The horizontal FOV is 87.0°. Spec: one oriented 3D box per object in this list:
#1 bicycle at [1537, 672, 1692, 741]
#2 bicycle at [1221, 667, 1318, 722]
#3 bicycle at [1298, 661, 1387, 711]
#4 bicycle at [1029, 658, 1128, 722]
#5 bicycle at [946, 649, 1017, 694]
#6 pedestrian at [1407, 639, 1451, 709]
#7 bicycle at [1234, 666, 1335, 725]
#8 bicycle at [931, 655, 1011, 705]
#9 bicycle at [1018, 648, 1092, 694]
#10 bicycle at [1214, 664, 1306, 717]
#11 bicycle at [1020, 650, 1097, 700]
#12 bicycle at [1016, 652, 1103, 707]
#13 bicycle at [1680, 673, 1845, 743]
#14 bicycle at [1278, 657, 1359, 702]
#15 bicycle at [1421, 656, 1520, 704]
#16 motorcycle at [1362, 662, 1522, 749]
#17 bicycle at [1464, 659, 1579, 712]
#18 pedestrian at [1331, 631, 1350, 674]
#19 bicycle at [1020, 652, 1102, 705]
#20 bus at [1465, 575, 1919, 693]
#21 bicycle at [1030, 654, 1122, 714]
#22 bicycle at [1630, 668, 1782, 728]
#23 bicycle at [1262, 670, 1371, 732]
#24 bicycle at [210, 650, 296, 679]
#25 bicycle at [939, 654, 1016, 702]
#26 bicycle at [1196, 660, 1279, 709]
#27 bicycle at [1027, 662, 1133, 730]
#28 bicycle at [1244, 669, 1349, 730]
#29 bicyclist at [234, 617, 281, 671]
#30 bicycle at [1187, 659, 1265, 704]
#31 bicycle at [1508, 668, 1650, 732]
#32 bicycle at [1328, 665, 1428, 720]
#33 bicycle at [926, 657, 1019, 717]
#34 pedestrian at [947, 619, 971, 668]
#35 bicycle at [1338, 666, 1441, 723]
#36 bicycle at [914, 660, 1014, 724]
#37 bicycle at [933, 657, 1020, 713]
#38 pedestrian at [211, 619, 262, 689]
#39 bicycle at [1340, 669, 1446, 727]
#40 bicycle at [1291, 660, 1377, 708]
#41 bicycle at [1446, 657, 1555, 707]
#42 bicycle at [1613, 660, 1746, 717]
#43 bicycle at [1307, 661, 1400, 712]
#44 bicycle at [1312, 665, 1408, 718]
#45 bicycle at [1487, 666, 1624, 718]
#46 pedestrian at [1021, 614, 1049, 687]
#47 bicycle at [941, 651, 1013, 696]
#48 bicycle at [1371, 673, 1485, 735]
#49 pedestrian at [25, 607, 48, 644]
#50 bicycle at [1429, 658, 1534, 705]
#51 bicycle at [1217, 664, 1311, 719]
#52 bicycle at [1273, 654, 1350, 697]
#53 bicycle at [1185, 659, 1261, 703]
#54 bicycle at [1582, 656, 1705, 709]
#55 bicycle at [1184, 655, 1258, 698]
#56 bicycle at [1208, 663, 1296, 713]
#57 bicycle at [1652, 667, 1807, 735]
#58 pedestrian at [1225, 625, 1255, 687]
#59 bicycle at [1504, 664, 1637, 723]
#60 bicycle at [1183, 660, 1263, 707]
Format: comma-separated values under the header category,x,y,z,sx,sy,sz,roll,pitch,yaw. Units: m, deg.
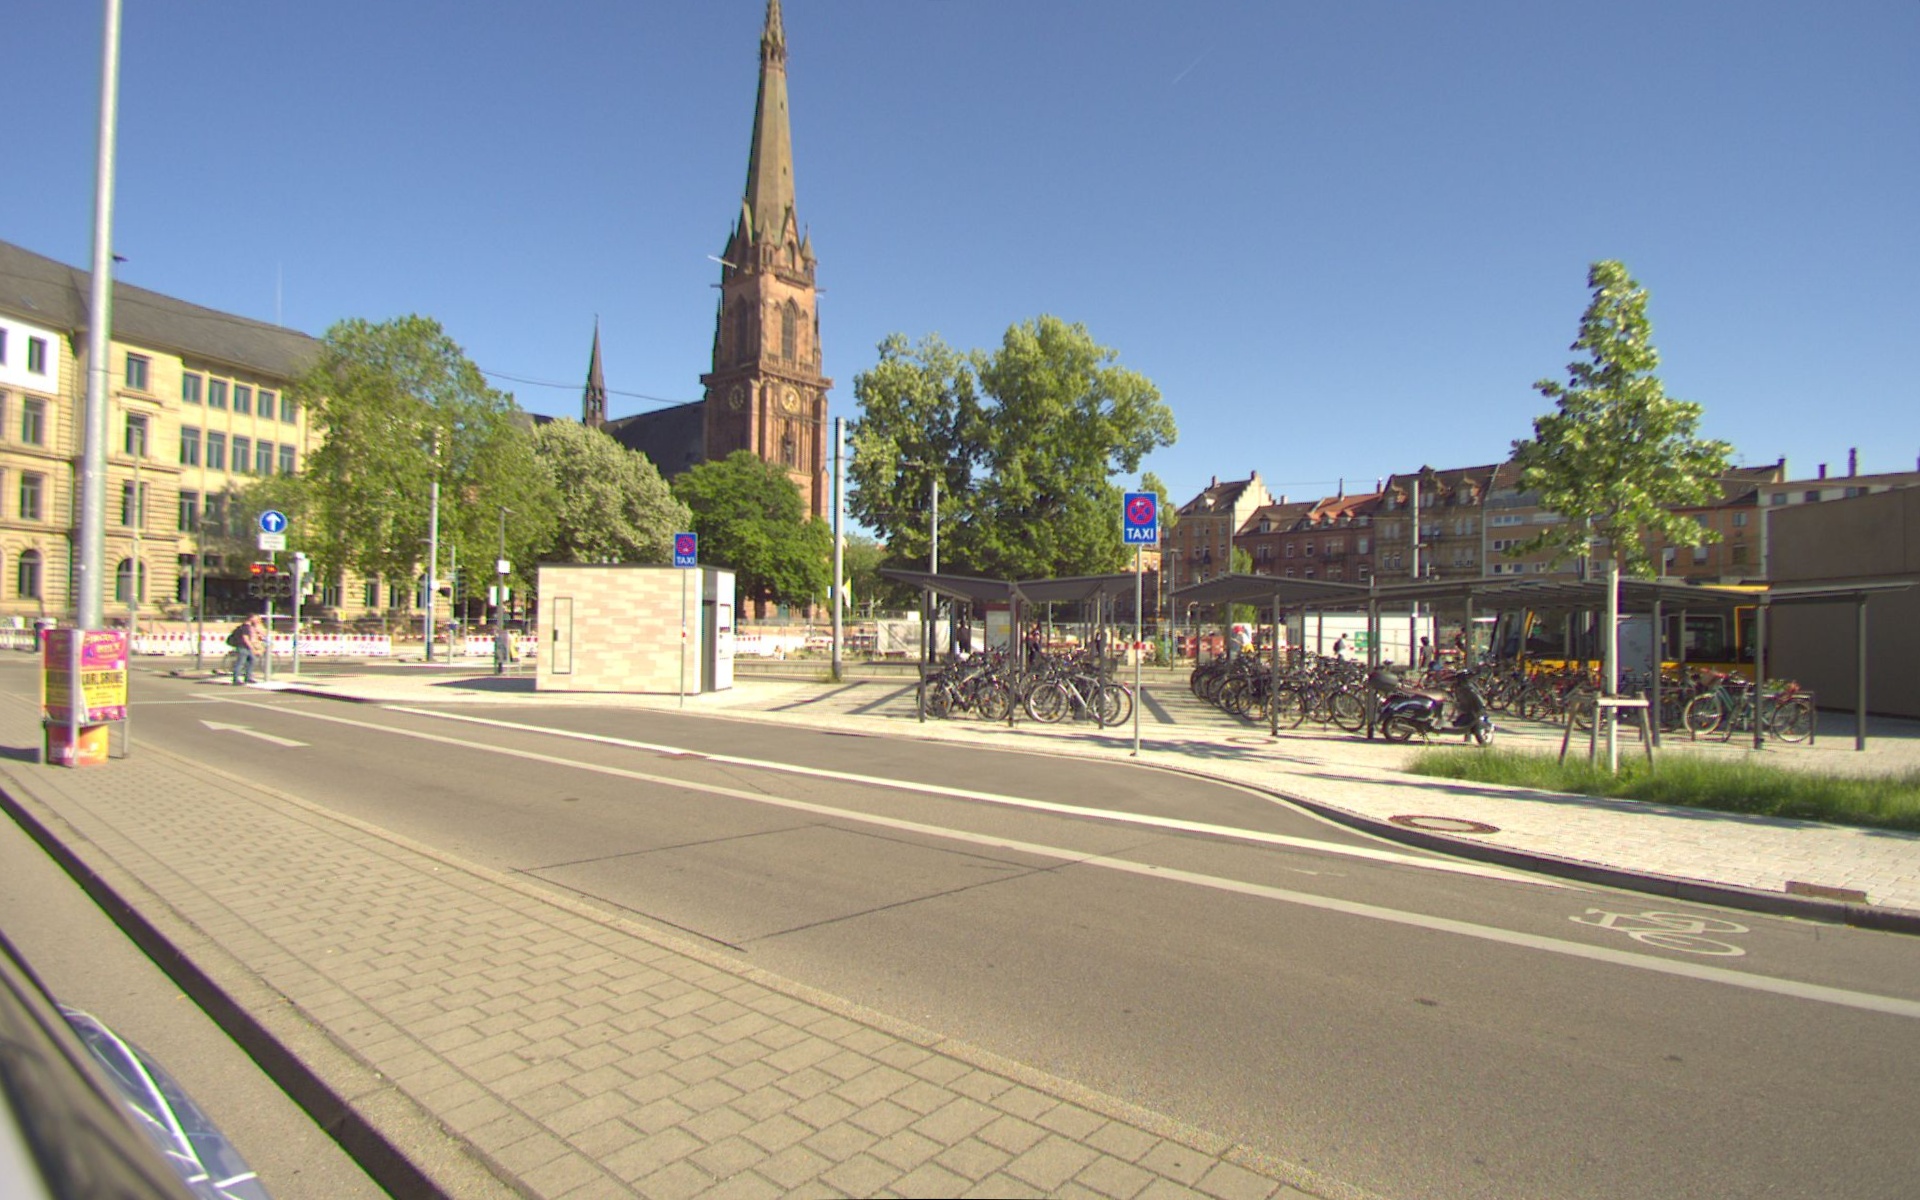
category,x,y,z,sx,sy,sz,roll,pitch,yaw
bicycle,10.575,1.711,16.396,2.048,1.045,0.533,-1,0,8
bicycle,5.731,1.750,18.775,1.661,0.980,0.406,-1,0,3
bicycle,7.863,1.761,20.833,1.661,0.980,0.406,-1,0,3
bicycle,2.142,1.617,18.344,1.753,1.083,0.406,1,0,6
bicycle,0.520,1.702,24.194,1.663,1.006,0.406,0,0,8
pedestrian,13.166,2.068,28.420,0.757,1.931,0.805,1,-2,-11
bicycle,5.818,1.710,18.195,1.661,0.980,0.406,1,0,3
bicycle,0.232,1.676,21.411,1.663,1.006,0.406,0,0,8
bicycle,2.316,1.724,24.685,1.755,1.083,0.406,1,0,6
bicycle,5.904,1.781,19.965,1.661,0.980,0.406,1,0,3
bicycle,2.275,1.732,23.505,1.755,1.083,0.406,1,0,6
bicycle,2.055,1.643,20.980,1.755,1.083,0.406,1,0,6
bicycle,12.770,1.715,16.145,2.048,1.045,0.533,-1,0,8
bicycle,8.075,1.788,22.845,1.661,0.980,0.406,-1,0,3
bicycle,12.302,1.919,24.436,2.048,1.045,0.533,1,3,8
motorcycle,7.196,1.570,15.167,2.059,1.228,0.569,-1,-2,3
bicycle,11.778,1.795,21.272,2.048,1.045,0.533,-1,2,8
pedestrian,16.888,2.319,44.917,0.637,1.885,0.529,0,-2,5
bicycle,2.195,1.695,22.035,1.755,1.083,0.406,1,0,6
bus,21.946,0.932,28.655,13.462,3.095,2.859,0,-2,6
bicycle,2.238,1.621,19.589,1.755,1.083,0.406,1,0,6
bicycle,13.481,1.763,18.337,2.117,1.005,0.690,-1,0,7
bicycle,5.936,1.685,16.897,1.661,0.980,0.406,-1,0,3
bicycle,-21.124,1.911,30.289,0.736,0.788,2.037,0,-2,22
bicycle,0.387,1.705,22.291,1.663,1.006,0.406,0,0,8
bicycle,5.928,1.806,21.647,1.661,0.980,0.406,1,-5,3
bicycle,2.025,1.606,17.099,1.753,1.083,0.406,1,-3,6
bicycle,5.796,1.710,17.470,1.661,0.980,0.406,1,0,3
bicyclist,-21.084,1.316,30.383,0.736,1.583,0.879,0,-2,23
bicycle,6.056,1.860,23.058,1.661,0.980,0.406,1,-5,3
bicycle,10.777,1.740,17.675,2.048,1.045,0.533,-1,0,8
bicycle,7.845,1.731,19.020,1.661,0.980,0.406,-1,0,3
bicycle,0.234,1.597,18.608,1.663,1.006,0.406,2,0,8
pedestrian,-0.047,1.678,39.132,0.610,1.874,0.703,2,-2,-39
bicycle,7.826,1.723,18.467,1.661,0.980,0.406,-1,0,3
bicycle,0.070,1.574,17.390,1.663,1.006,0.406,2,0,8
bicycle,0.331,1.664,19.952,1.663,1.006,0.406,2,0,8
pedestrian,-18.608,1.367,26.034,0.987,1.756,0.631,2,-2,-42
bicycle,7.646,1.725,17.899,1.661,0.980,0.406,-1,0,3
bicycle,7.991,1.790,21.630,1.661,0.980,0.406,-1,0,3
bicycle,11.868,1.801,22.263,2.048,1.045,0.533,-1,2,8
bicycle,13.855,1.699,19.533,2.048,1.045,0.533,-1,0,8
bicycle,7.860,1.730,20.236,1.661,0.980,0.406,-1,0,3
bicycle,7.719,1.763,19.536,1.661,0.980,0.406,-1,0,3
bicycle,11.616,1.798,19.798,2.208,0.951,0.685,-1,0,7
pedestrian,1.952,1.317,26.478,0.693,1.873,0.620,1,-2,4
bicycle,0.396,1.702,23.669,1.663,1.006,0.406,0,0,8
bicycle,7.770,1.724,16.828,1.661,0.980,0.406,-1,0,3
pedestrian,-44.783,1.238,49.085,0.540,1.733,0.538,0,-2,3
bicycle,12.033,1.879,23.381,2.048,1.045,0.533,-1,-4,8
bicycle,5.816,1.737,19.383,1.661,0.980,0.406,1,0,3
bicycle,8.294,1.785,23.922,1.661,0.980,0.406,-1,0,3
bicycle,6.139,1.881,23.631,1.661,0.980,0.406,1,-5,3
bicycle,14.080,1.696,20.885,2.048,1.045,0.533,-1,0,8
bicycle,6.258,1.837,24.319,1.661,0.980,0.406,1,-5,3
bicycle,5.927,1.785,20.571,1.661,0.980,0.406,1,-5,3
bicycle,12.991,1.696,17.123,2.030,1.087,0.604,-1,0,7
pedestrian,7.514,1.487,27.158,0.694,1.635,0.619,0,-2,9
bicycle,11.324,1.733,18.820,2.048,1.045,0.533,-1,0,8
bicycle,5.788,1.837,22.303,1.661,0.980,0.406,1,-5,3
